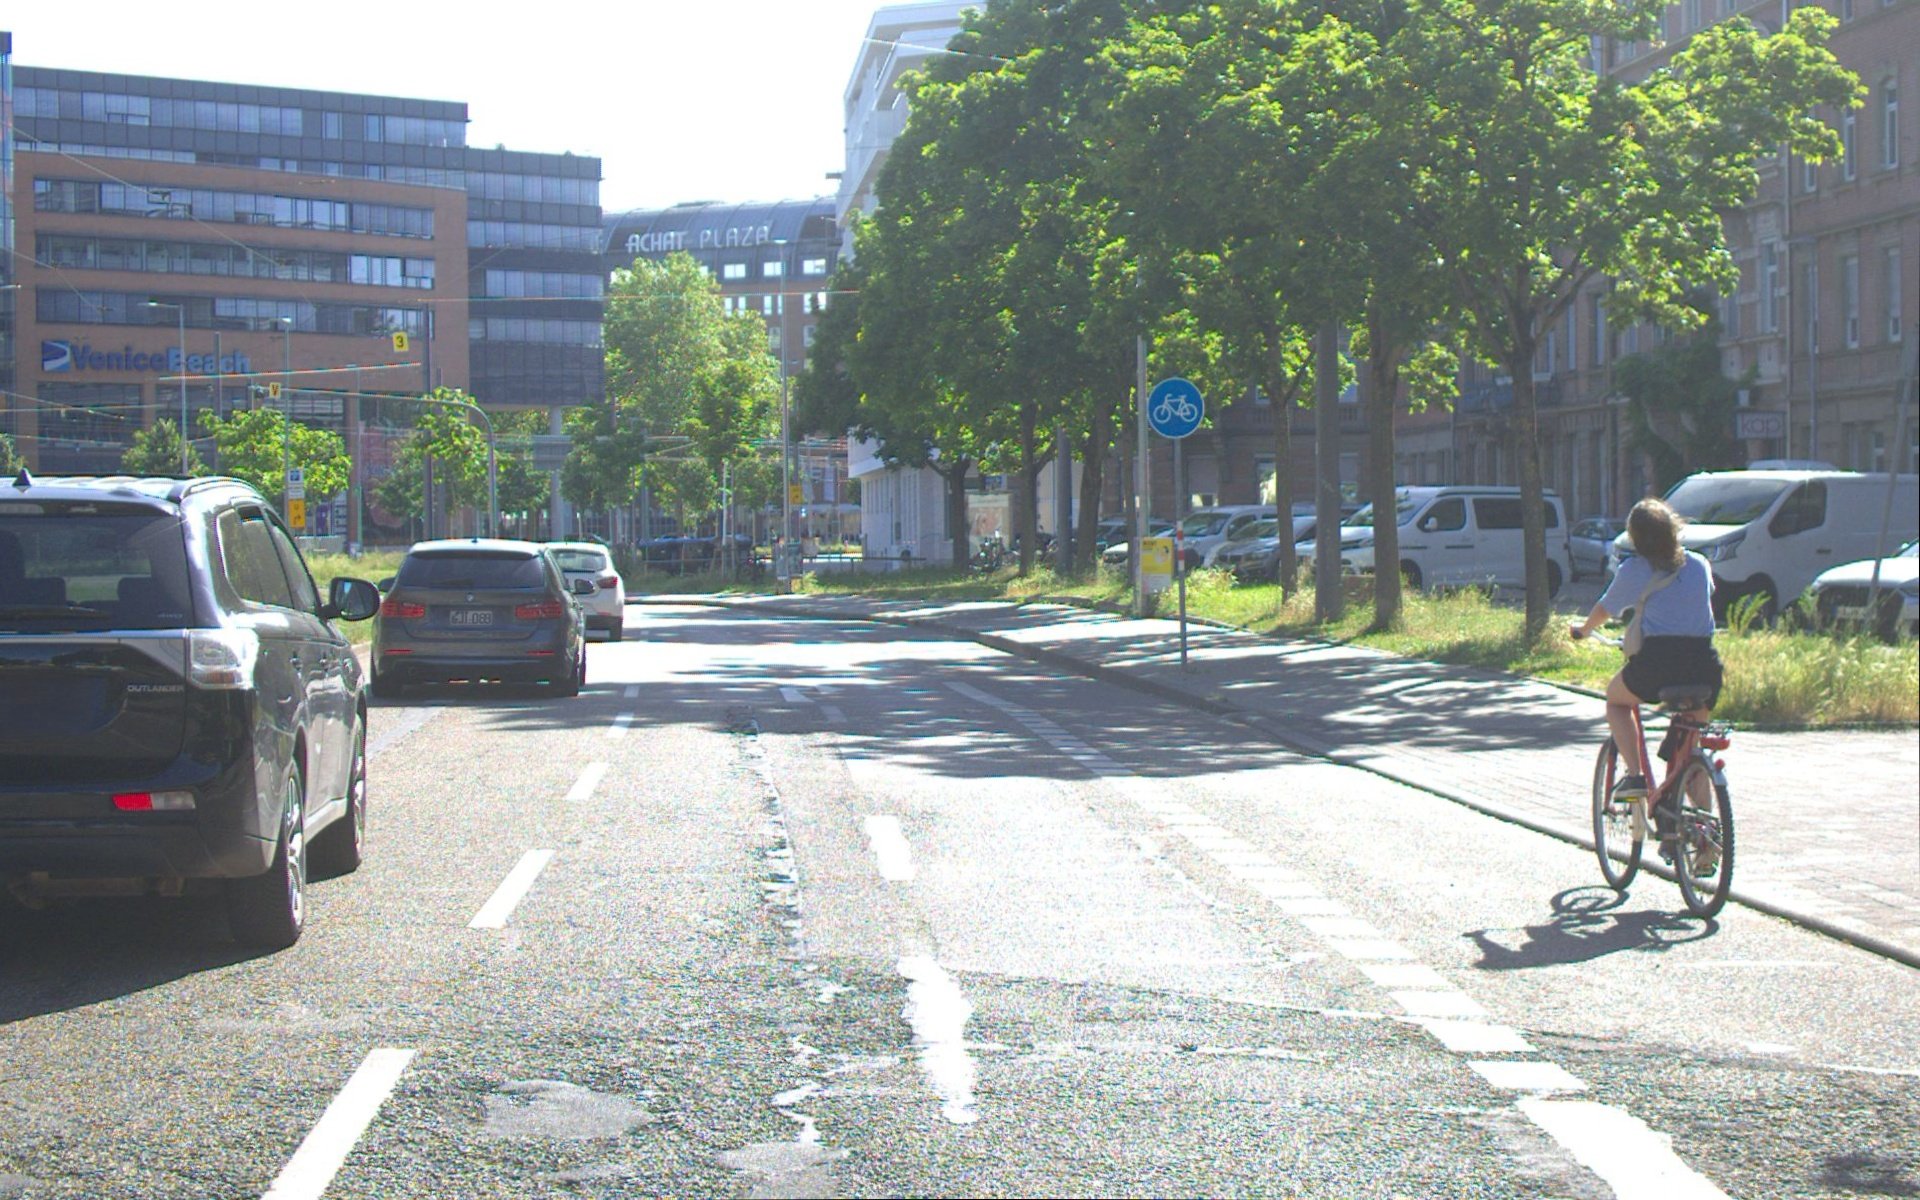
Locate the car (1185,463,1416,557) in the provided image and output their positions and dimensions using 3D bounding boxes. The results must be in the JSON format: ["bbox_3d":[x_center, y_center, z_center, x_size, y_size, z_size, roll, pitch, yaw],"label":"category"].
[{"bbox_3d":[7.117,-1.878,71.761,4.499,1.721,2.000,-4,2,-34],"label":"car"}]

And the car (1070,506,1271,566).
[{"bbox_3d":[5.156,-1.575,83.931,4.738,1.375,2.045,-2,2,-38],"label":"car"}]

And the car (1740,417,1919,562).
[{"bbox_3d":[16.432,-2.106,65.058,1.993,2.576,4.514,-2,2,-3],"label":"car"}]

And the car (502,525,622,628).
[{"bbox_3d":[-5.847,-0.321,50.245,1.632,1.418,3.783,1,0,-8],"label":"car"}]

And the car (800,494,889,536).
[{"bbox_3d":[-5.660,-4.173,168.815,3.989,2.007,1.999,0,1,11],"label":"car"}]

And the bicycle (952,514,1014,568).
[{"bbox_3d":[0.586,-1.495,86.935,0.769,1.285,1.594,0,2,35],"label":"bicycle"}]

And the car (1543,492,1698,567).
[{"bbox_3d":[14.815,-1.613,77.351,1.993,1.523,4.514,-3,2,-9],"label":"car"}]

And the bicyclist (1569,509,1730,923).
[{"bbox_3d":[2.809,0.450,14.049,0.437,1.633,0.779,-1,2,-4],"label":"bicyclist"}]

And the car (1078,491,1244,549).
[{"bbox_3d":[5.689,-2.272,97.155,4.457,1.560,1.938,-2,2,-36],"label":"car"}]

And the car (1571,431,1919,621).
[{"bbox_3d":[9.832,-0.941,41.754,4.867,2.068,2.020,-4,3,-39],"label":"car"}]

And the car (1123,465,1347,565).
[{"bbox_3d":[6.257,-1.935,77.926,4.866,2.006,2.100,-4,2,-39],"label":"car"}]

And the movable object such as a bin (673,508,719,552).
[{"bbox_3d":[-8.618,-2.284,112.147,1.108,1.393,1.320,0,2,15],"label":"movable object such as a bin"}]

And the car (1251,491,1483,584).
[{"bbox_3d":[7.415,-1.143,62.425,4.019,1.473,1.812,-4,2,-38],"label":"car"}]

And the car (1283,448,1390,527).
[{"bbox_3d":[11.791,-3.553,108.029,2.348,2.349,5.189,-2,2,-4],"label":"car"}]

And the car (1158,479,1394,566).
[{"bbox_3d":[6.950,-1.709,75.379,4.865,1.642,2.100,-4,2,-34],"label":"car"}]

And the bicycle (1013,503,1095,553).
[{"bbox_3d":[2.388,-1.847,87.678,1.957,1.188,0.842,-2,2,-5],"label":"bicycle"}]

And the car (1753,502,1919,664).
[{"bbox_3d":[10.311,-0.263,34.257,4.866,1.430,2.020,-4,3,-37],"label":"car"}]

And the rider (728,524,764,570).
[{"bbox_3d":[-5.791,-1.439,93.000,0.502,1.172,1.675,0,3,12],"label":"rider"}]

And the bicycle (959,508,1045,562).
[{"bbox_3d":[1.081,-1.688,89.194,2.092,1.360,0.787,-1,1,-10],"label":"bicycle"}]

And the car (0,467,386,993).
[{"bbox_3d":[-3.309,0.375,13.255,1.836,1.676,4.644,0,1,-5],"label":"car"}]

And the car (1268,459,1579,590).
[{"bbox_3d":[8.042,-1.313,59.486,5.171,2.006,2.100,-4,2,-34],"label":"car"}]

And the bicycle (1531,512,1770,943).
[{"bbox_3d":[2.813,0.467,14.171,0.437,1.633,1.939,-1,2,-4],"label":"bicycle"}]

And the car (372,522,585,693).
[{"bbox_3d":[-4.343,0.078,31.513,1.733,1.418,4.468,1,0,-6],"label":"car"}]
